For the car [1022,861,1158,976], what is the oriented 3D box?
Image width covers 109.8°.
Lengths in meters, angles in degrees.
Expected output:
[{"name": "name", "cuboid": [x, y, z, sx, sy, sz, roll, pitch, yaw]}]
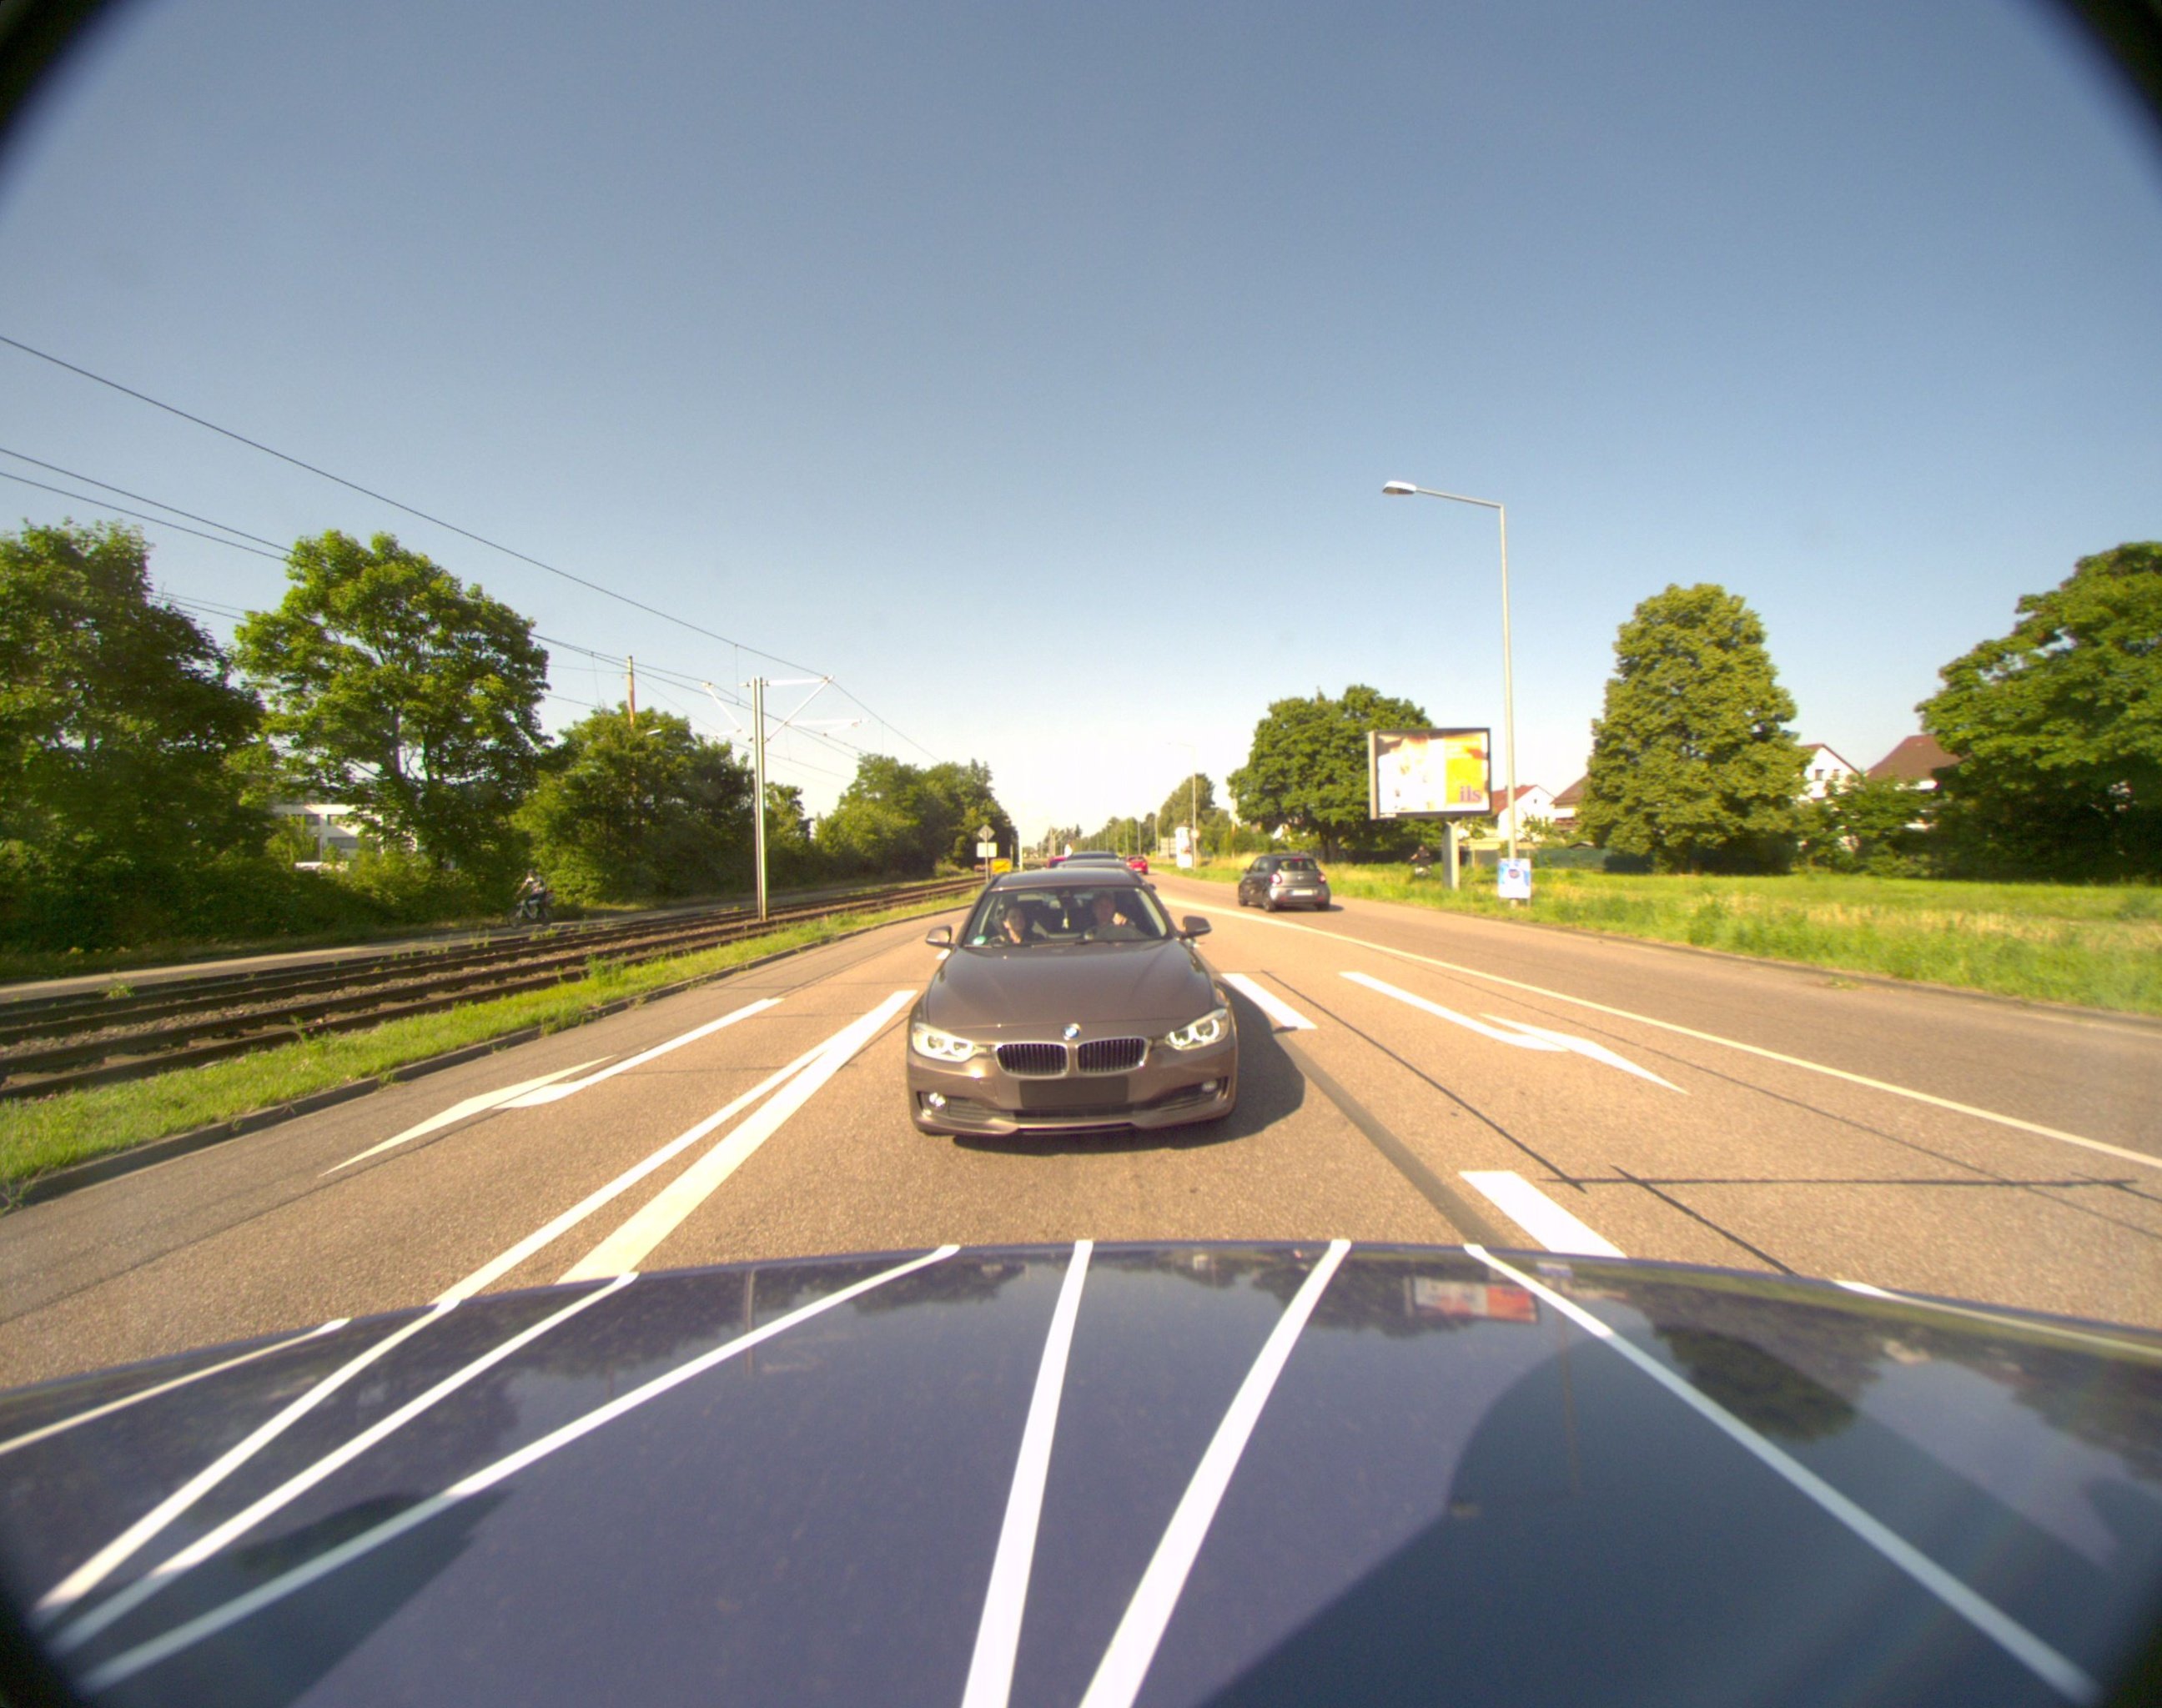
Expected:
[{"name": "car", "cuboid": [0.144, 0.897, 12.638, 1.821, 1.481, 4.611, -1, 0, 0]}]

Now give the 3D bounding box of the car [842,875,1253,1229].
[{"name": "car", "cuboid": [-0.128, 0.972, 5.708, 1.821, 1.416, 4.461, -2, 0, 1]}]

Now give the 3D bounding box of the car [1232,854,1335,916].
[{"name": "car", "cuboid": [5.529, 0.785, 21.152, 1.638, 1.551, 3.674, -1, 0, -4]}]

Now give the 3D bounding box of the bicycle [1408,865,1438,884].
[{"name": "bicycle", "cuboid": [15.114, 0.888, 33.605, 0.455, 0.749, 1.834, -1, 0, -2]}]

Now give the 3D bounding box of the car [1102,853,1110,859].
[{"name": "car", "cuboid": [5.803, 0.453, 177.628, 1.784, 1.469, 4.287, -1, 0, 2]}]

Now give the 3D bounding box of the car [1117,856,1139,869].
[{"name": "car", "cuboid": [4.710, 0.839, 76.533, 1.784, 1.302, 4.286, -1, 0, -1]}]

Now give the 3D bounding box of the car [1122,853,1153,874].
[{"name": "car", "cuboid": [4.133, 0.681, 56.100, 1.699, 1.489, 3.674, 0, 0, -4]}]

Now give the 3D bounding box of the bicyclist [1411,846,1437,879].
[{"name": "bicyclist", "cuboid": [15.121, 0.354, 33.509, 0.638, 1.420, 1.071, -1, 1, -2]}]

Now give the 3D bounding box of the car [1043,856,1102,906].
[{"name": "car", "cuboid": [-0.241, 0.859, 25.974, 1.807, 1.498, 4.197, -1, 0, 0]}]

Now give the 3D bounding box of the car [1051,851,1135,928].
[{"name": "car", "cuboid": [0.291, 0.797, 19.349, 1.821, 1.641, 4.611, -2, 0, 0]}]

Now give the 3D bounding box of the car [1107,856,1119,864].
[{"name": "car", "cuboid": [6.054, 1.073, 145.751, 1.784, 1.469, 4.285, -1, 0, -4]}]

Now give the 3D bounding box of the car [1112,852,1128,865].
[{"name": "car", "cuboid": [4.752, 0.523, 92.879, 1.783, 1.469, 3.915, -1, 0, 5]}]

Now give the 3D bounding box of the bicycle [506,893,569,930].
[{"name": "bicycle", "cuboid": [-17.225, 1.808, 24.134, 0.547, 1.041, 1.874, -1, 0, 3]}]

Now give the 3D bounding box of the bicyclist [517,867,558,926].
[{"name": "bicyclist", "cuboid": [-17.239, 1.331, 24.101, 0.708, 1.797, 0.718, -1, 1, 2]}]
